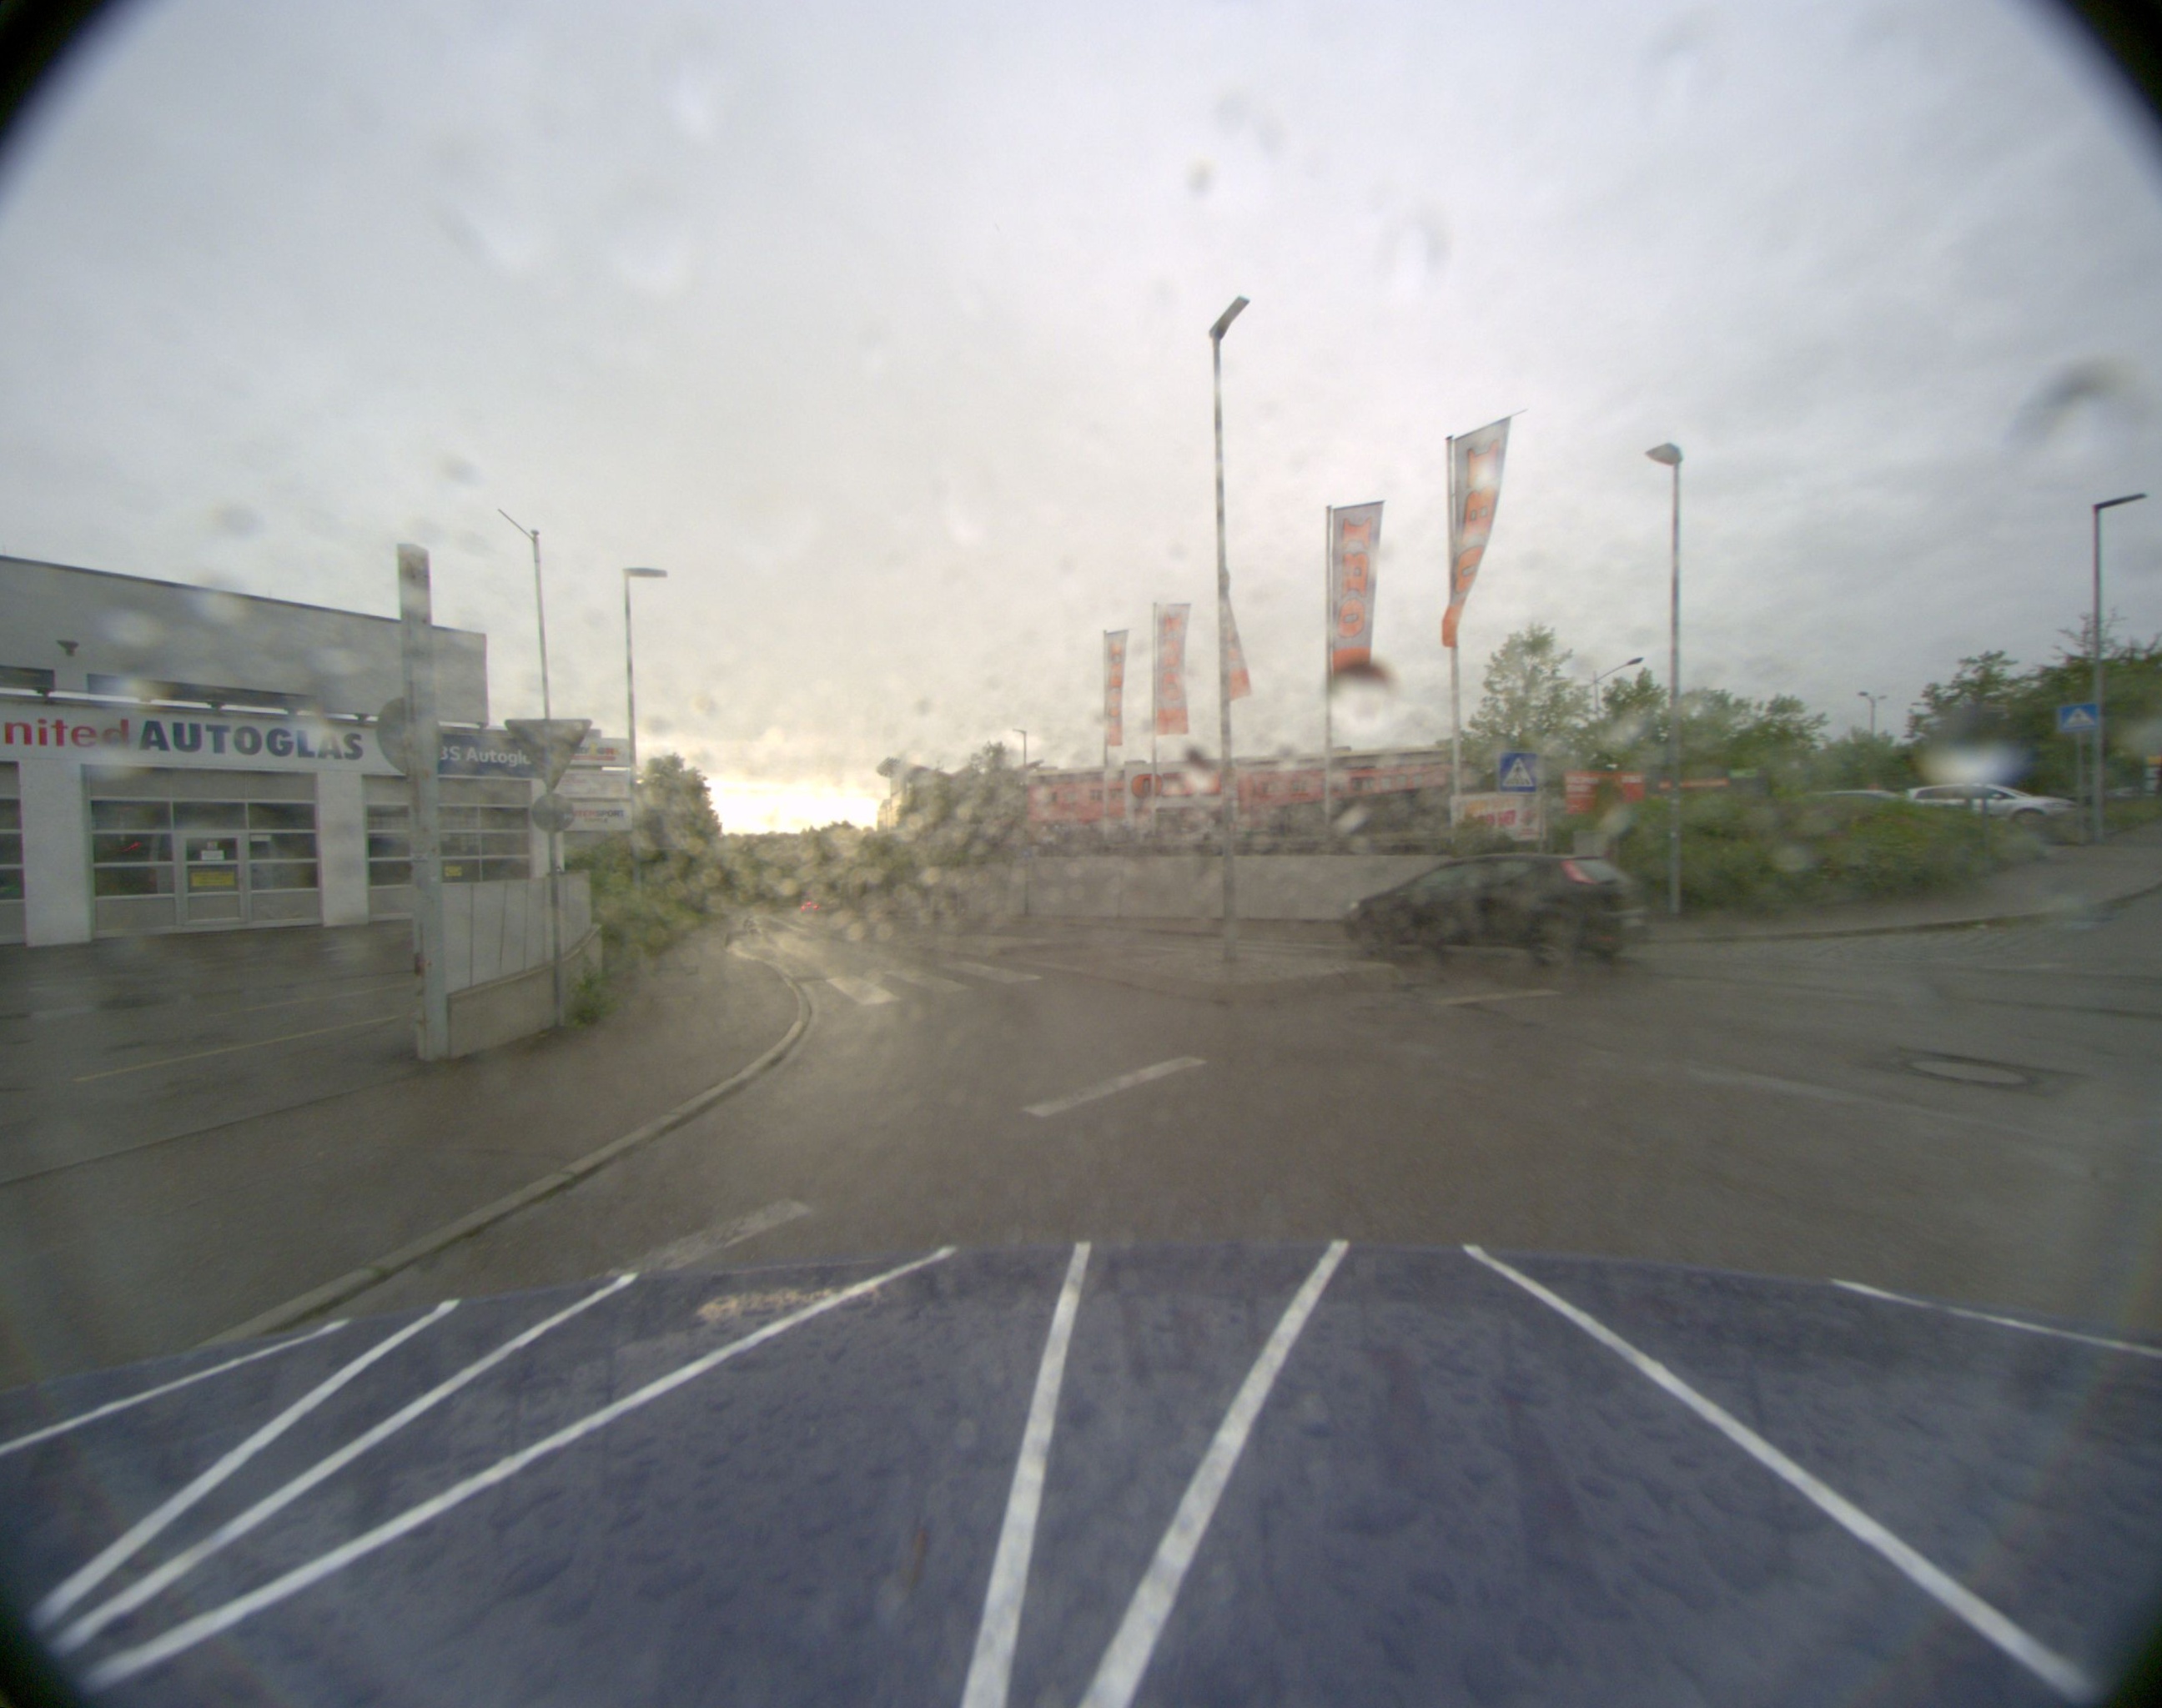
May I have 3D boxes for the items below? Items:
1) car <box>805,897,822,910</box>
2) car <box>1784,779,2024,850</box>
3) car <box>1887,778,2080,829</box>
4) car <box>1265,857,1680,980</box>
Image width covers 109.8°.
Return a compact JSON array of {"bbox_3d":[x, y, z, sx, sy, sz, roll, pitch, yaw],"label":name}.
[{"bbox_3d":[-31.117,5.748,88.453,1.812,1.455,3.995,-2,-2,-20],"label":"car"},{"bbox_3d":[22.640,-1.006,21.106,2.002,1.696,4.098,-1,0,-25],"label":"car"},{"bbox_3d":[31.217,-1.688,26.426,2.003,1.433,3.991,-1,0,-28],"label":"car"},{"bbox_3d":[5.539,0.808,11.631,2.003,1.374,5.330,-2,0,-33],"label":"car"}]
